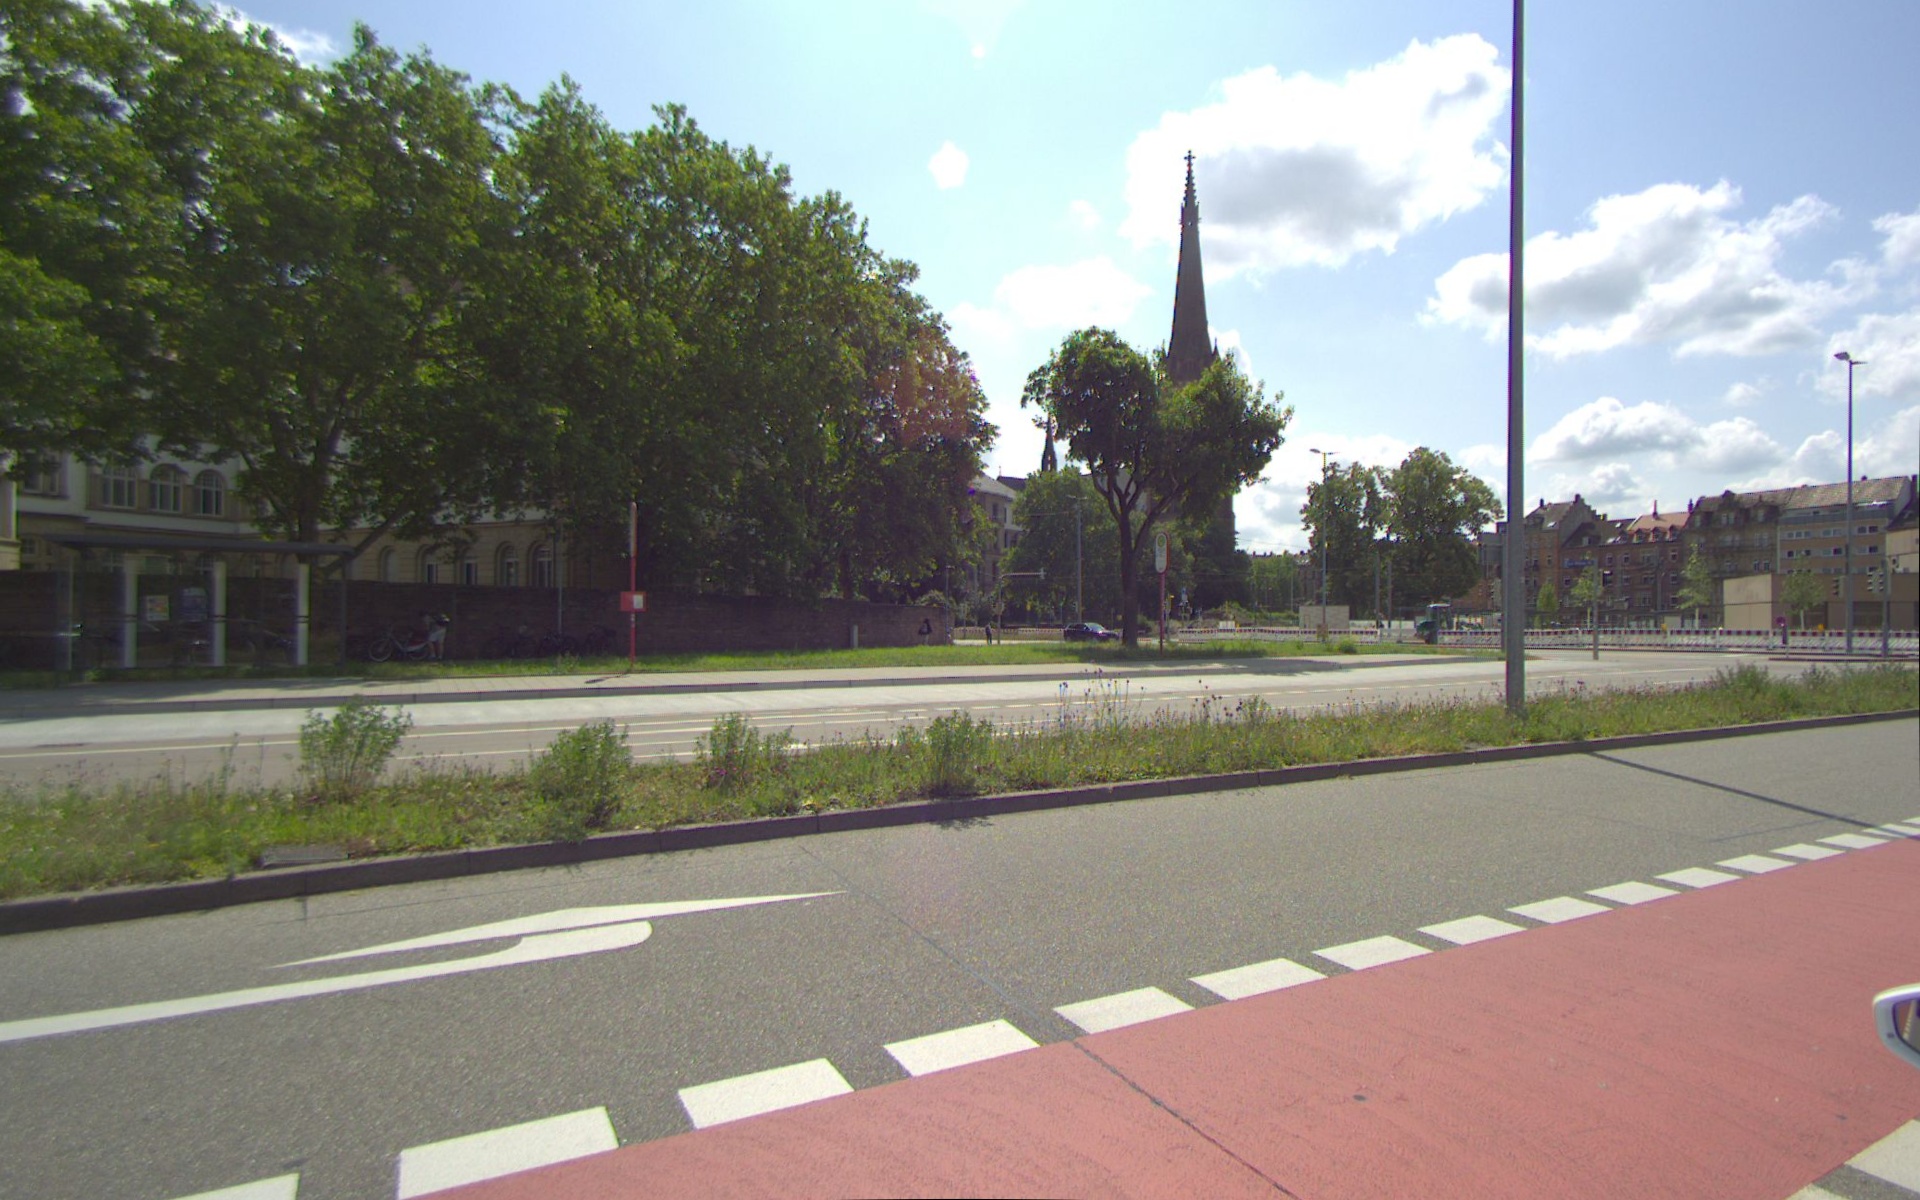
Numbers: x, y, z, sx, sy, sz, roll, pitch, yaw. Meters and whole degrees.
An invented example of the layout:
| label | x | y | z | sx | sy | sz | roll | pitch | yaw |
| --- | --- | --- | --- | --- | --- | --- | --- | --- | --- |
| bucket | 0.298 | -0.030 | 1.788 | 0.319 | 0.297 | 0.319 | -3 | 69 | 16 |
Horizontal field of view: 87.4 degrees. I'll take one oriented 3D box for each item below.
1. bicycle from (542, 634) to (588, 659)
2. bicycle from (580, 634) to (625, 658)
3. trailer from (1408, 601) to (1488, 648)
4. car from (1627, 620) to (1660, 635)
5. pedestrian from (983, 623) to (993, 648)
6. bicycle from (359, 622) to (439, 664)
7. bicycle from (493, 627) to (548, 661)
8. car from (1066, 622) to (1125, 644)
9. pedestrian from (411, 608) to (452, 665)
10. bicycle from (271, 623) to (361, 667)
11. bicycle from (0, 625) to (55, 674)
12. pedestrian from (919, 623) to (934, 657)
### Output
| label | x | y | z | sx | sy | sz | roll | pitch | yaw |
| --- | --- | --- | --- | --- | --- | --- | --- | --- | --- |
| bicycle | -13.150 | 1.544 | 33.452 | 0.391 | 0.799 | 1.462 | 0 | -1 | 33 |
| bicycle | -12.355 | 1.576 | 34.772 | 0.391 | 0.799 | 1.540 | 0 | -1 | 33 |
| trailer | 32.344 | 1.621 | 66.622 | 4.277 | 2.952 | 2.001 | 2 | 0 | 7 |
| car | 113.575 | 4.529 | 167.039 | 1.972 | 2.374 | 4.097 | 2 | 0 | -23 |
| pedestrian | 2.063 | 2.666 | 74.735 | 0.561 | 1.844 | 0.436 | 2 | 0 | 43 |
| bicycle | -16.211 | 1.227 | 29.066 | 0.391 | 1.152 | 2.032 | 0 | -1 | 36 |
| bicycle | -14.032 | 1.390 | 32.120 | 0.391 | 1.043 | 1.683 | 0 | -1 | 33 |
| car | 9.792 | 2.361 | 73.107 | 1.976 | 1.505 | 4.475 | 1 | -1 | -30 |
| pedestrian | -15.412 | 1.048 | 29.296 | 0.710 | 1.632 | 0.779 | 0 | -1 | 31 |
| bicycle | -17.455 | 1.213 | 27.267 | 0.391 | 1.152 | 2.032 | 0 | -1 | 36 |
| bicycle | -21.250 | 1.085 | 22.101 | 0.392 | 1.057 | 1.948 | 0 | -1 | 40 |
| pedestrian | -1.725 | 2.037 | 51.603 | 0.479 | 1.718 | 0.679 | 2 | 0 | 21 |
